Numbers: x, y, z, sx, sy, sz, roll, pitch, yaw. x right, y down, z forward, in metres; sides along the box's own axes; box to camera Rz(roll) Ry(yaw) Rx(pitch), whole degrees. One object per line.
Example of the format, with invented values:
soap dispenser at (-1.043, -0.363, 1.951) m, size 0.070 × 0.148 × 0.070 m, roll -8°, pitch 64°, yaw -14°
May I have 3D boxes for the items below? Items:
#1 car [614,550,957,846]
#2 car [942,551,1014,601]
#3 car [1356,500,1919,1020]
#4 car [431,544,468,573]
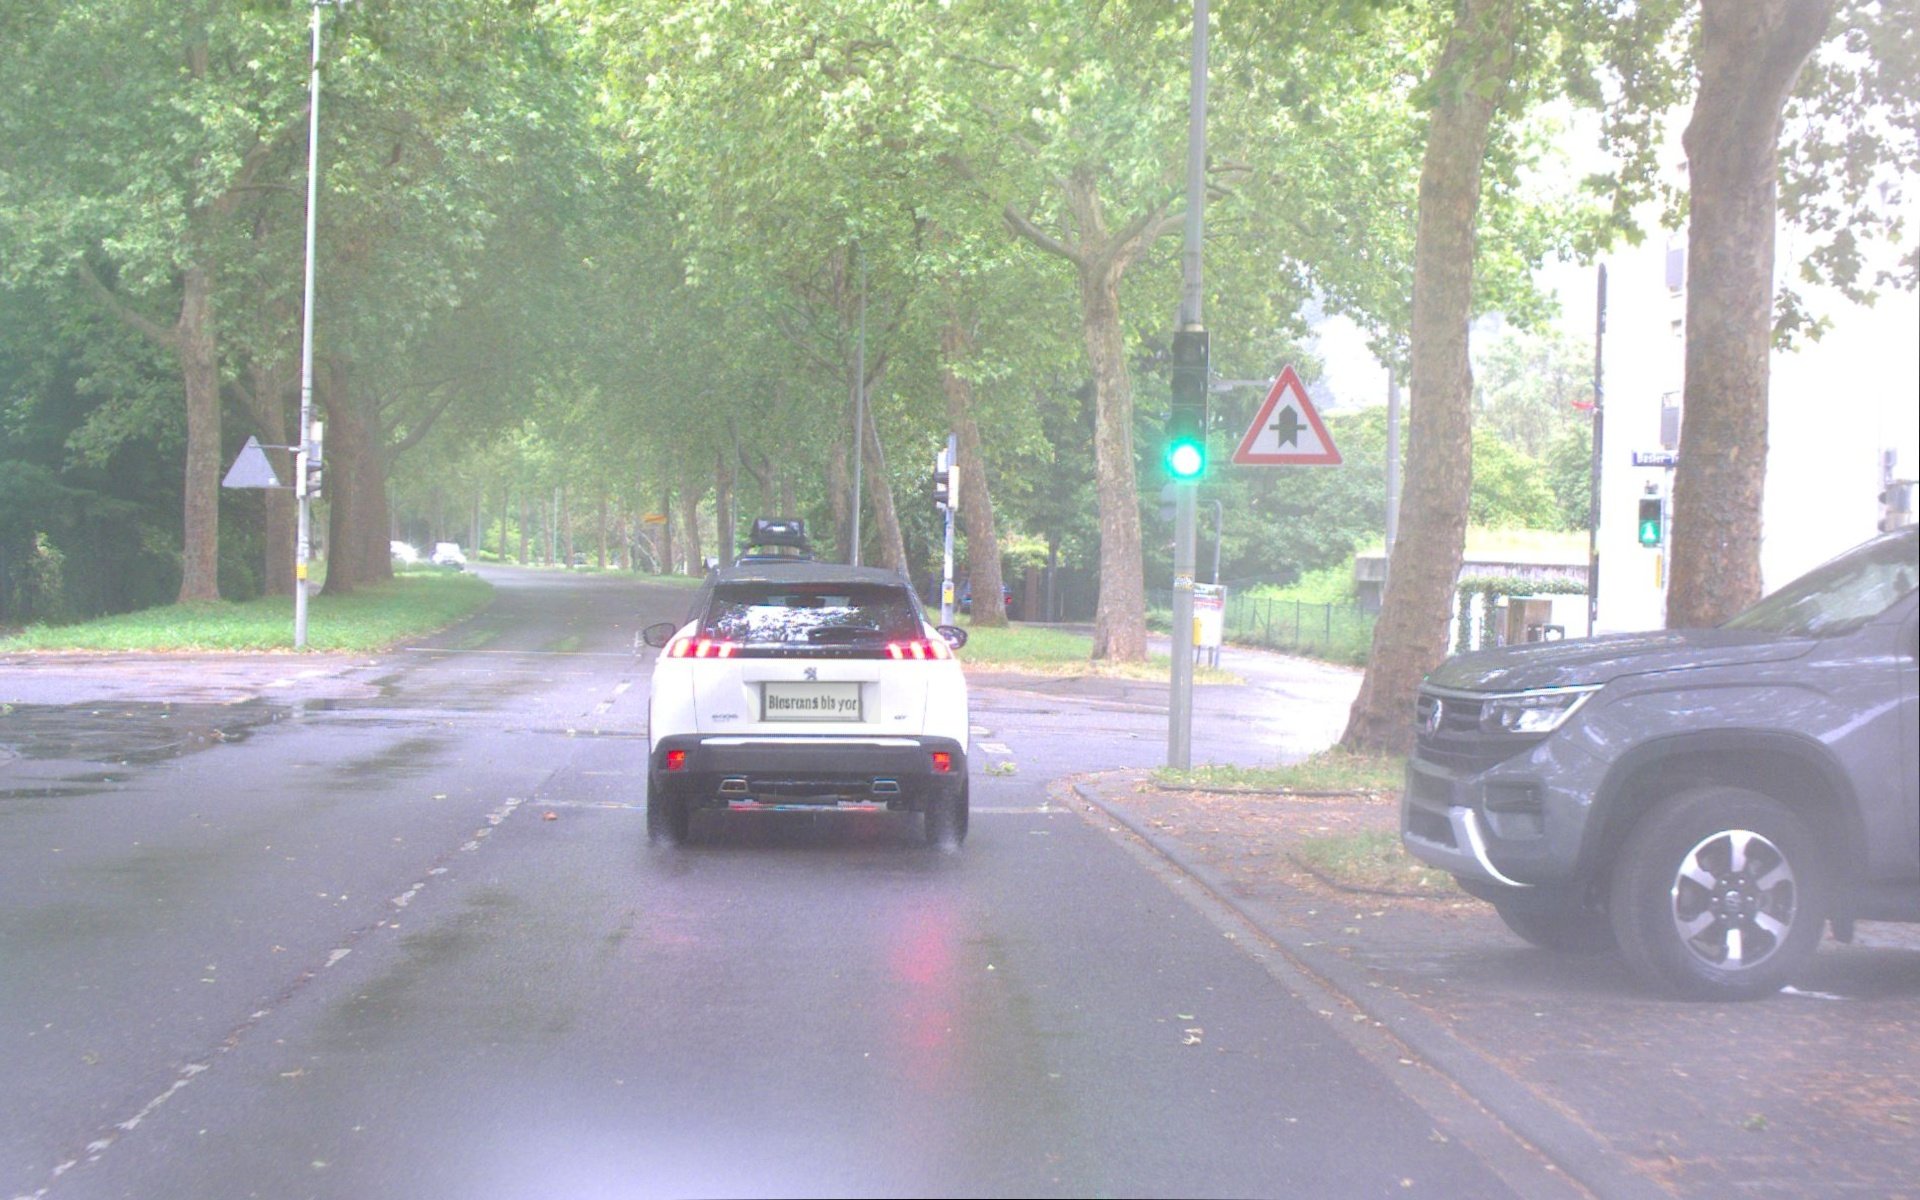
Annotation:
car at (-0.953, 0.488, 20.136) m, size 1.780 × 1.531 × 4.058 m, roll 1°, pitch 1°, yaw -1°
car at (0.544, -0.773, 108.910) m, size 1.905 × 1.505 × 3.932 m, roll 1°, pitch 1°, yaw -4°
car at (4.349, 0.539, 13.165) m, size 5.337 × 1.800 × 1.845 m, roll 0°, pitch 0°, yaw -7°
car at (-30.680, -2.493, 206.632) m, size 1.873 × 1.671 × 3.709 m, roll 1°, pitch 1°, yaw -4°
